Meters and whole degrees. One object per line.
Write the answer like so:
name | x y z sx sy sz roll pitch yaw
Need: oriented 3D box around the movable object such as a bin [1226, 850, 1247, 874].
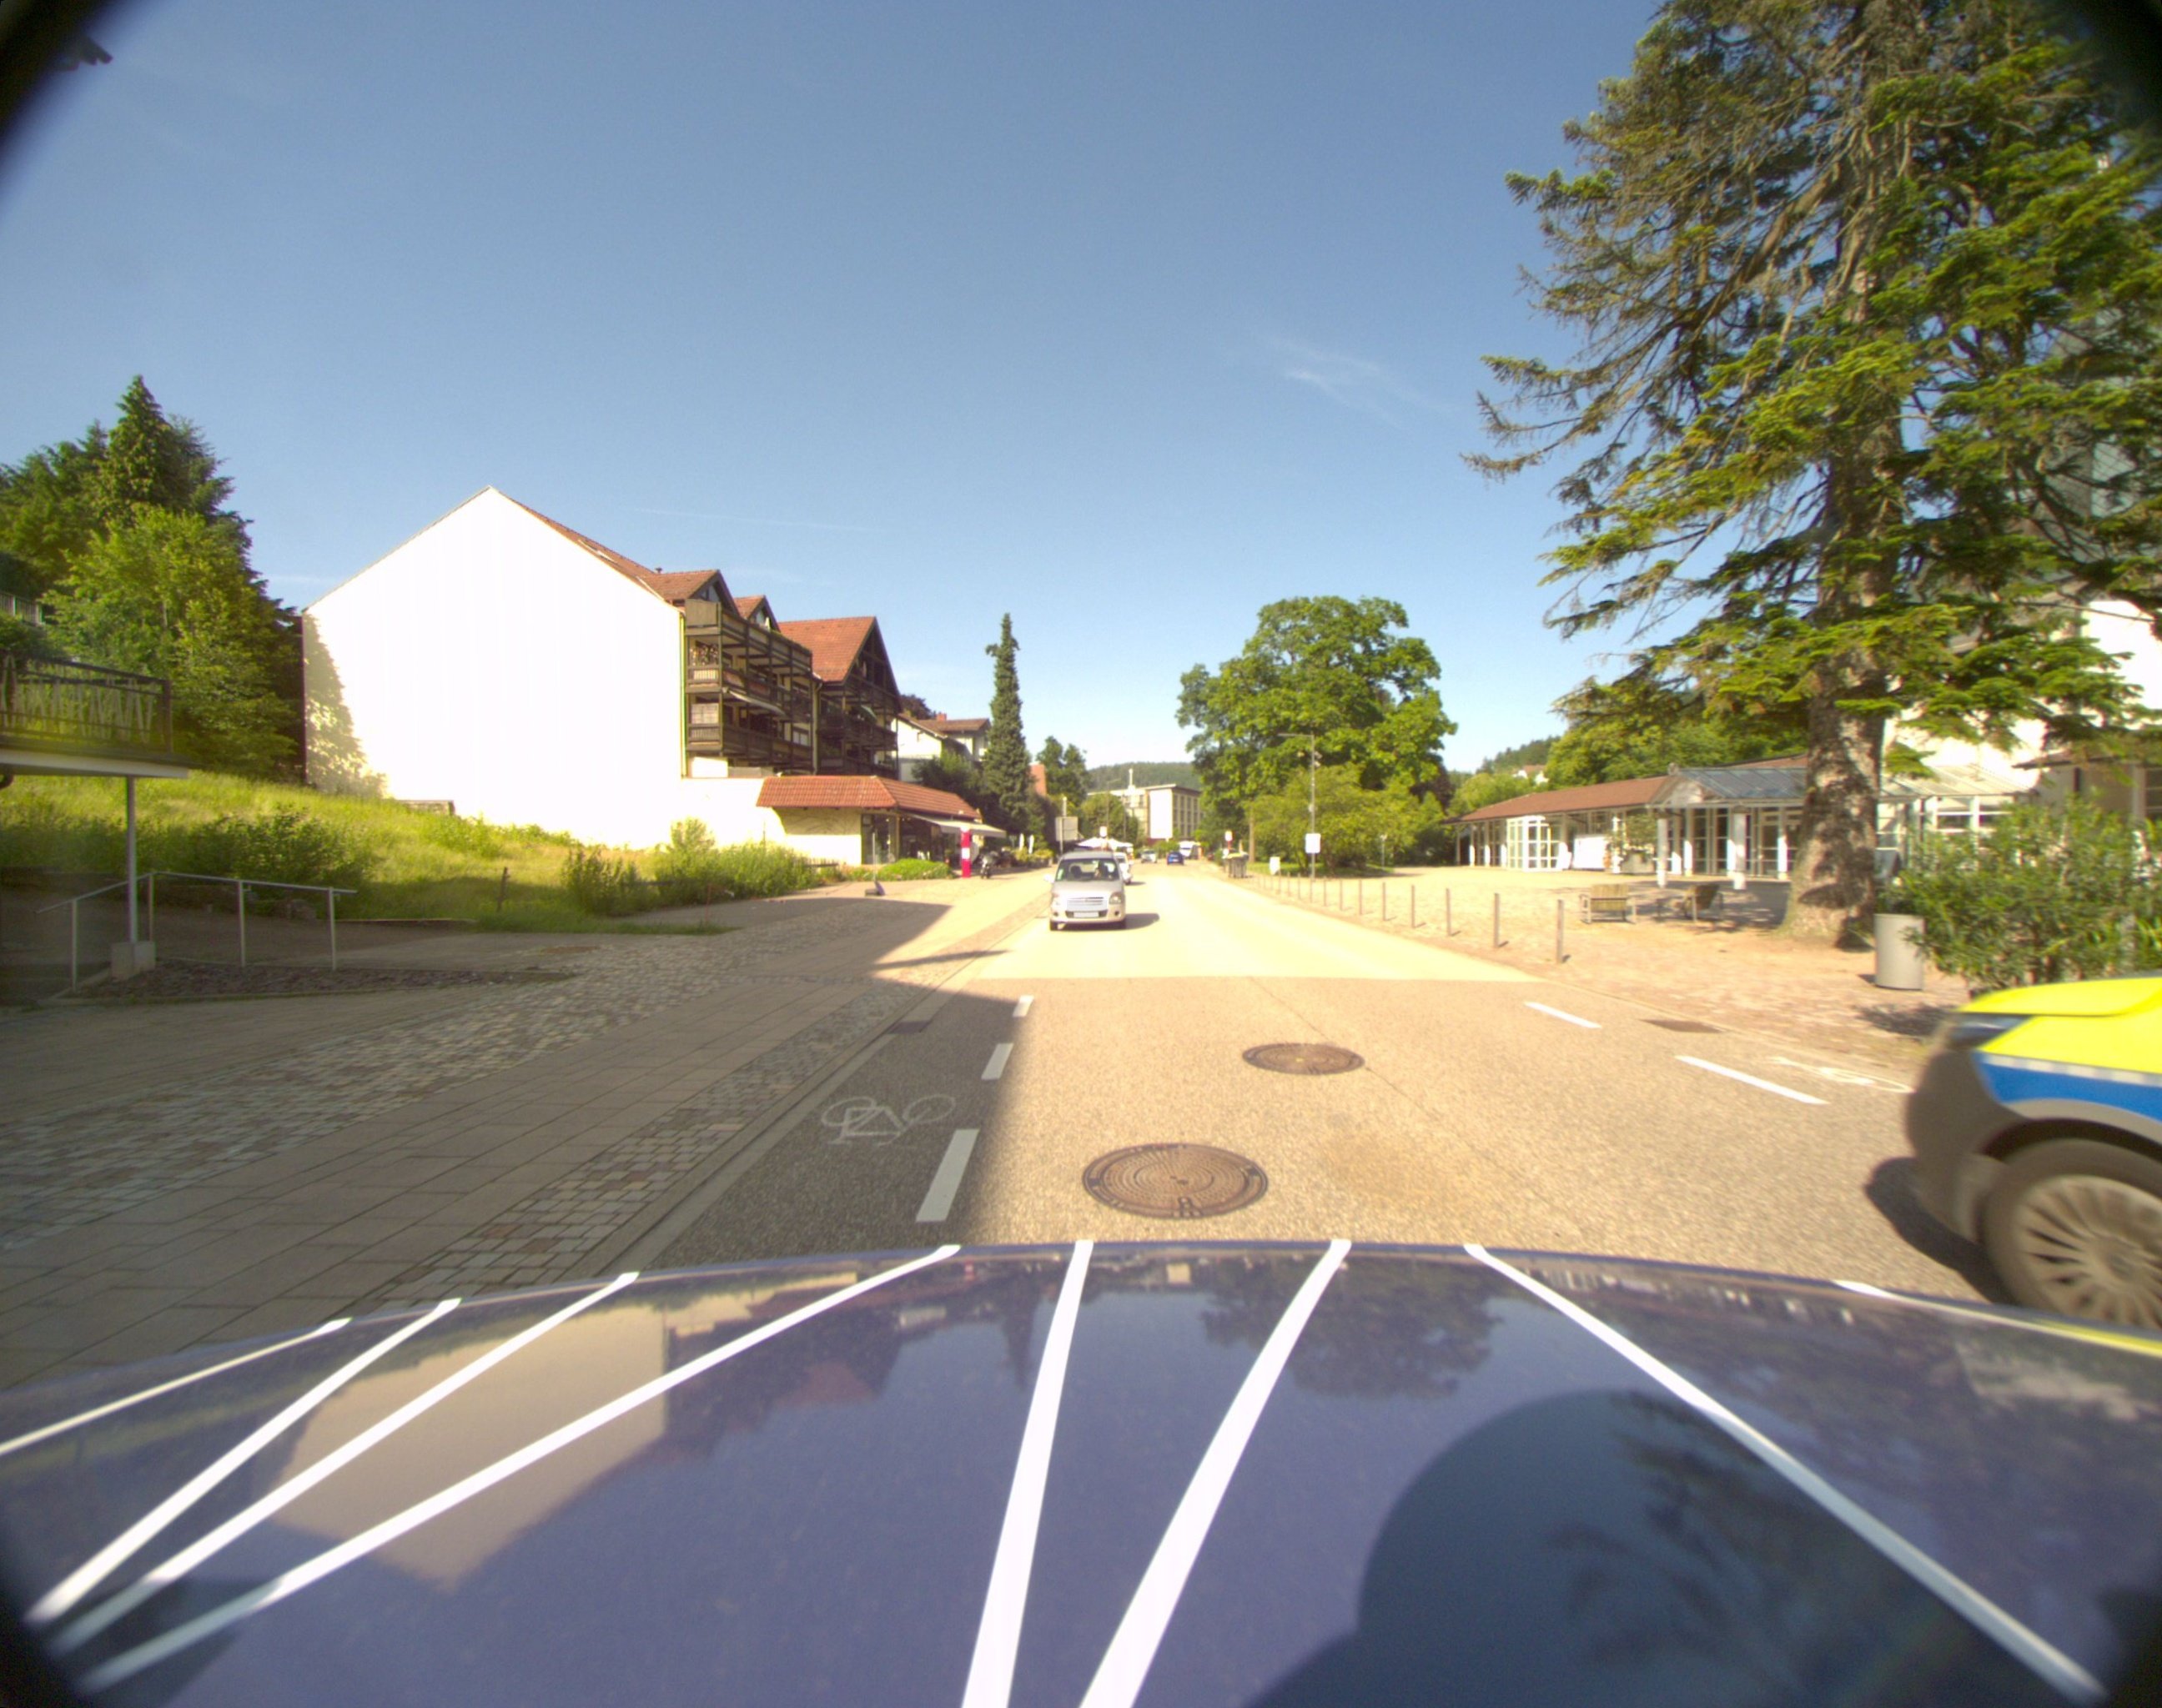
movable object such as a bin | 9.622 0.501 47.156 1.081 1.419 1.377 -2 1 5

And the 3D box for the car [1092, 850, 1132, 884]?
car | 1.424 0.588 35.593 1.740 1.488 3.929 -1 0 2

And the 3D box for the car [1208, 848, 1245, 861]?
car | 17.640 0.049 92.226 4.285 1.423 1.713 -2 1 2

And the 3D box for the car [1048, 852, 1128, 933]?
car | 0.195 0.798 17.671 1.604 1.628 4.000 -2 0 1

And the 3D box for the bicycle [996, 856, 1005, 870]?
bicycle | -5.464 0.625 51.502 0.397 0.837 1.613 -1 3 -13

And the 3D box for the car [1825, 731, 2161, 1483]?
car | 3.730 0.675 0.326 1.859 1.942 5.017 1 0 0

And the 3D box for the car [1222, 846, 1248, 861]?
car | 16.704 -0.100 82.479 2.655 1.538 1.684 -2 1 14

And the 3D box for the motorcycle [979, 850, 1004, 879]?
motorcycle | -4.252 0.466 36.345 0.698 1.289 2.213 3 1 5

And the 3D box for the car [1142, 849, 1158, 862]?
car | 7.970 0.188 87.475 1.653 1.462 4.002 -2 0 7

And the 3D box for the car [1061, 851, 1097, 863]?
car | -0.253 0.364 93.257 4.116 1.407 1.749 1 1 10

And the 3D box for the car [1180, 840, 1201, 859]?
car | 17.479 -0.735 120.917 1.786 2.775 5.922 -1 0 23

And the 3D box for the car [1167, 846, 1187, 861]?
car | 10.082 -0.063 79.897 1.745 1.454 4.187 2 1 4

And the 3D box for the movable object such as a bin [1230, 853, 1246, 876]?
movable object such as a bin | 9.378 0.613 45.334 0.756 1.334 1.295 -2 1 5
